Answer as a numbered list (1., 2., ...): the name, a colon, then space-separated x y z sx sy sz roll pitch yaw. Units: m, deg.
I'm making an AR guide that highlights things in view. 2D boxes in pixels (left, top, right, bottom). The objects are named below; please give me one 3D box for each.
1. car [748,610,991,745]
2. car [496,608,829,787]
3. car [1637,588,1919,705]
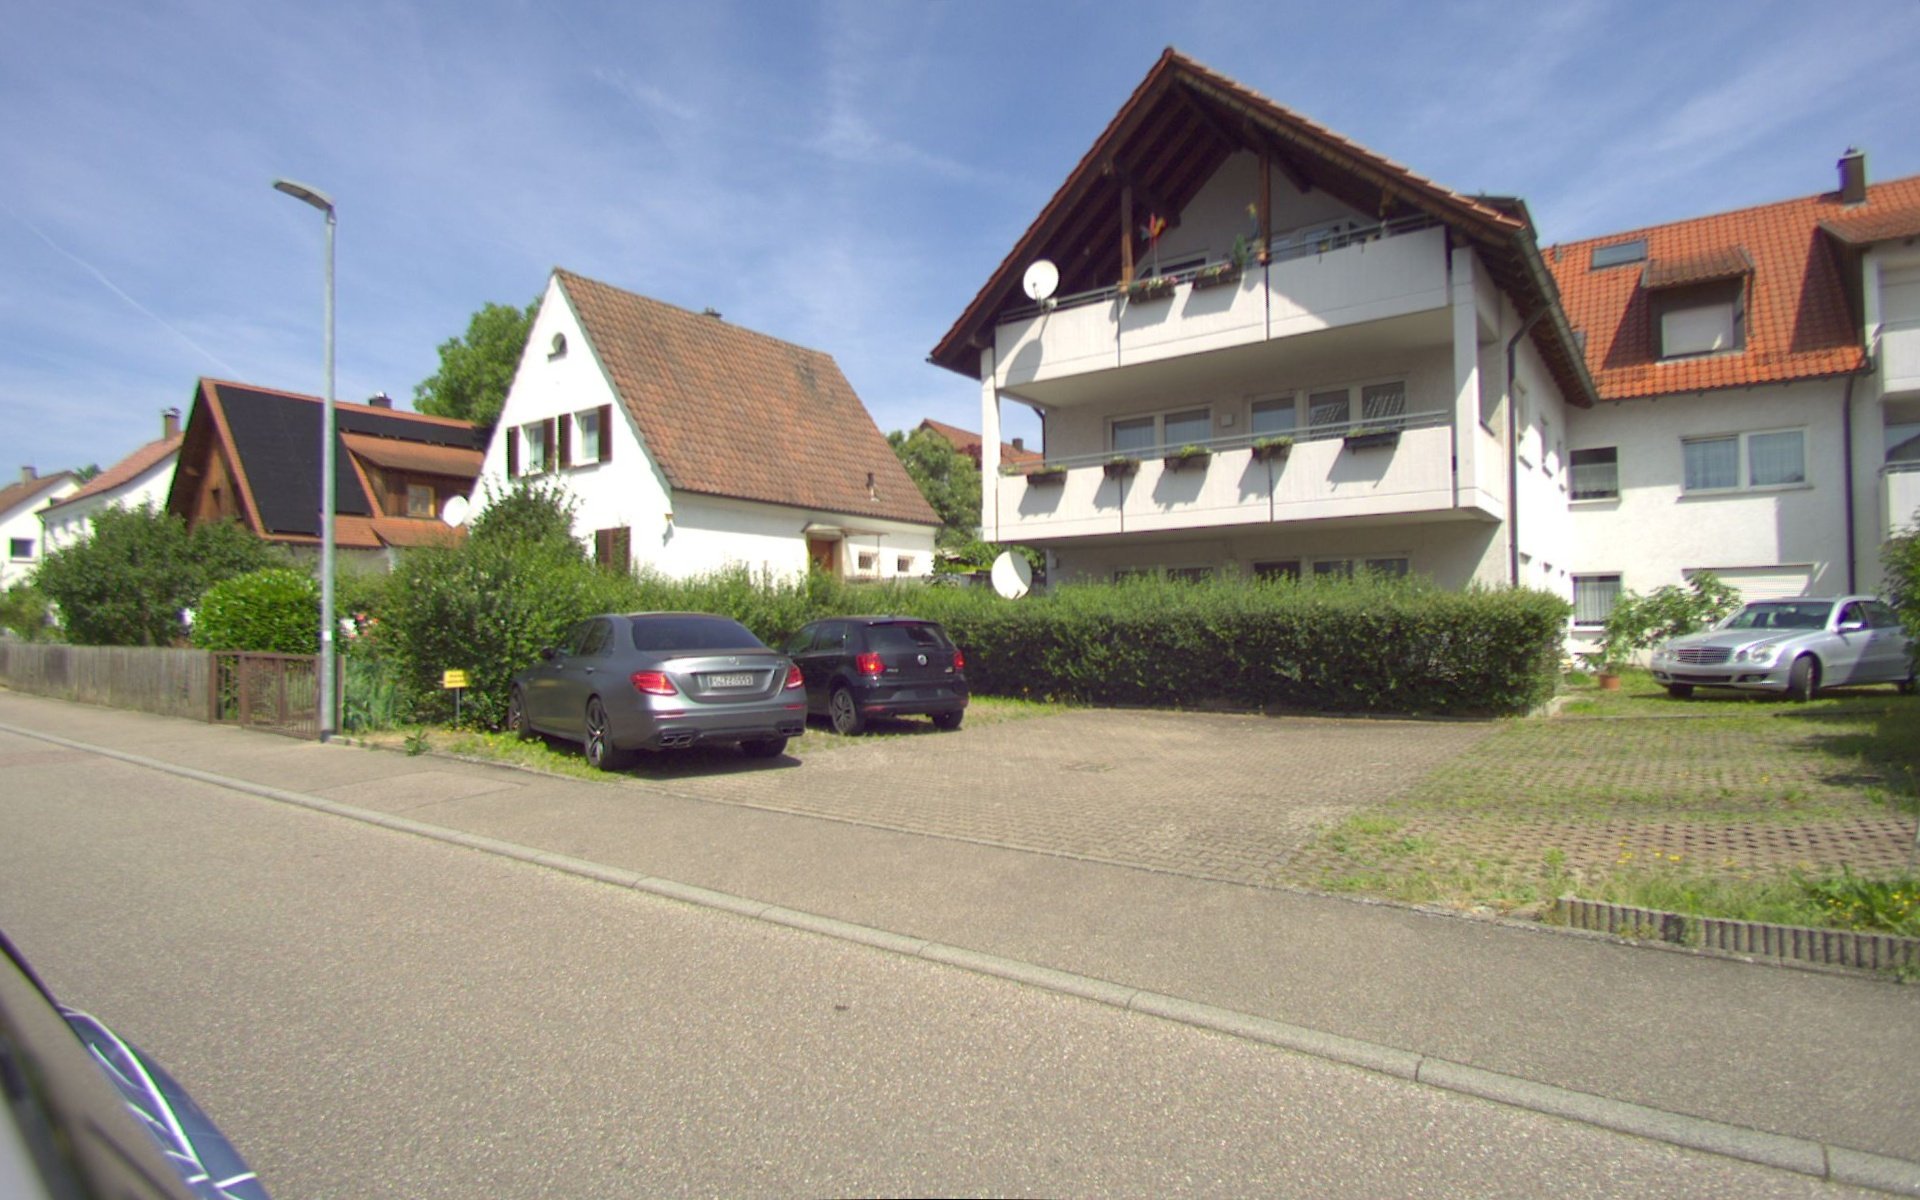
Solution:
1. car: -1.322 0.907 13.349 1.666 1.513 3.661 0 -1 -33
2. car: -3.319 0.838 10.572 1.803 1.443 4.572 0 -1 -38
3. car: 12.098 0.602 14.489 4.201 1.482 1.881 0 -1 -21
